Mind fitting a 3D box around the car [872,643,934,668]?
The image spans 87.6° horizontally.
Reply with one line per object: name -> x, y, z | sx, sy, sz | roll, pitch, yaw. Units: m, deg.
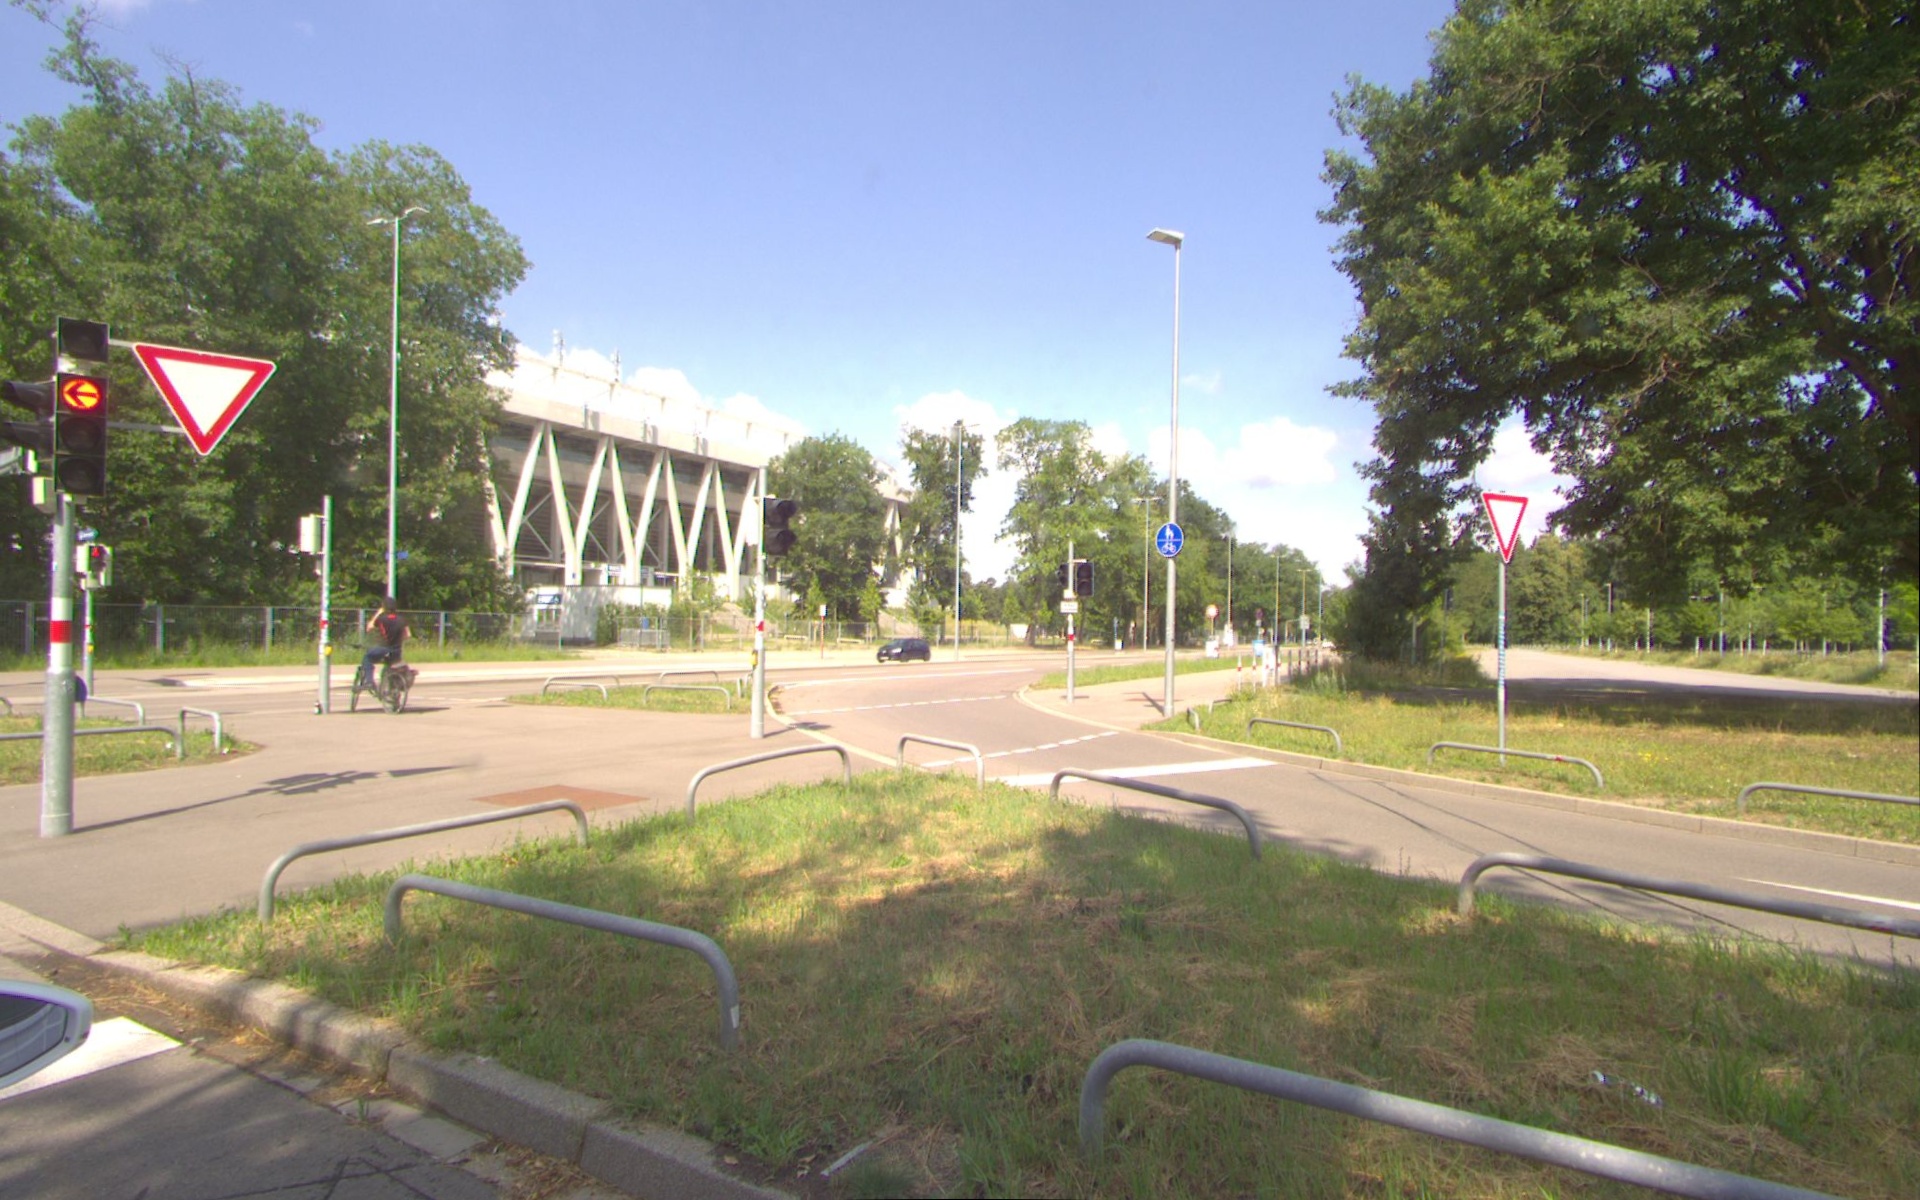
car -> -3.270, 3.200, 58.136 | 1.580, 1.395, 3.956 | -1, -2, 32

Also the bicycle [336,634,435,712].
bicycle -> -9.529, 1.172, 16.592 | 1.876, 1.221, 0.876 | -2, -2, 42

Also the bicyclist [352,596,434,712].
bicyclist -> -9.303, 0.876, 16.437 | 0.967, 1.820, 0.881 | -1, -2, 40

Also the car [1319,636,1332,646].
car -> 60.179, 6.721, 164.789 | 1.334, 1.544, 3.460 | -1, -2, 31
